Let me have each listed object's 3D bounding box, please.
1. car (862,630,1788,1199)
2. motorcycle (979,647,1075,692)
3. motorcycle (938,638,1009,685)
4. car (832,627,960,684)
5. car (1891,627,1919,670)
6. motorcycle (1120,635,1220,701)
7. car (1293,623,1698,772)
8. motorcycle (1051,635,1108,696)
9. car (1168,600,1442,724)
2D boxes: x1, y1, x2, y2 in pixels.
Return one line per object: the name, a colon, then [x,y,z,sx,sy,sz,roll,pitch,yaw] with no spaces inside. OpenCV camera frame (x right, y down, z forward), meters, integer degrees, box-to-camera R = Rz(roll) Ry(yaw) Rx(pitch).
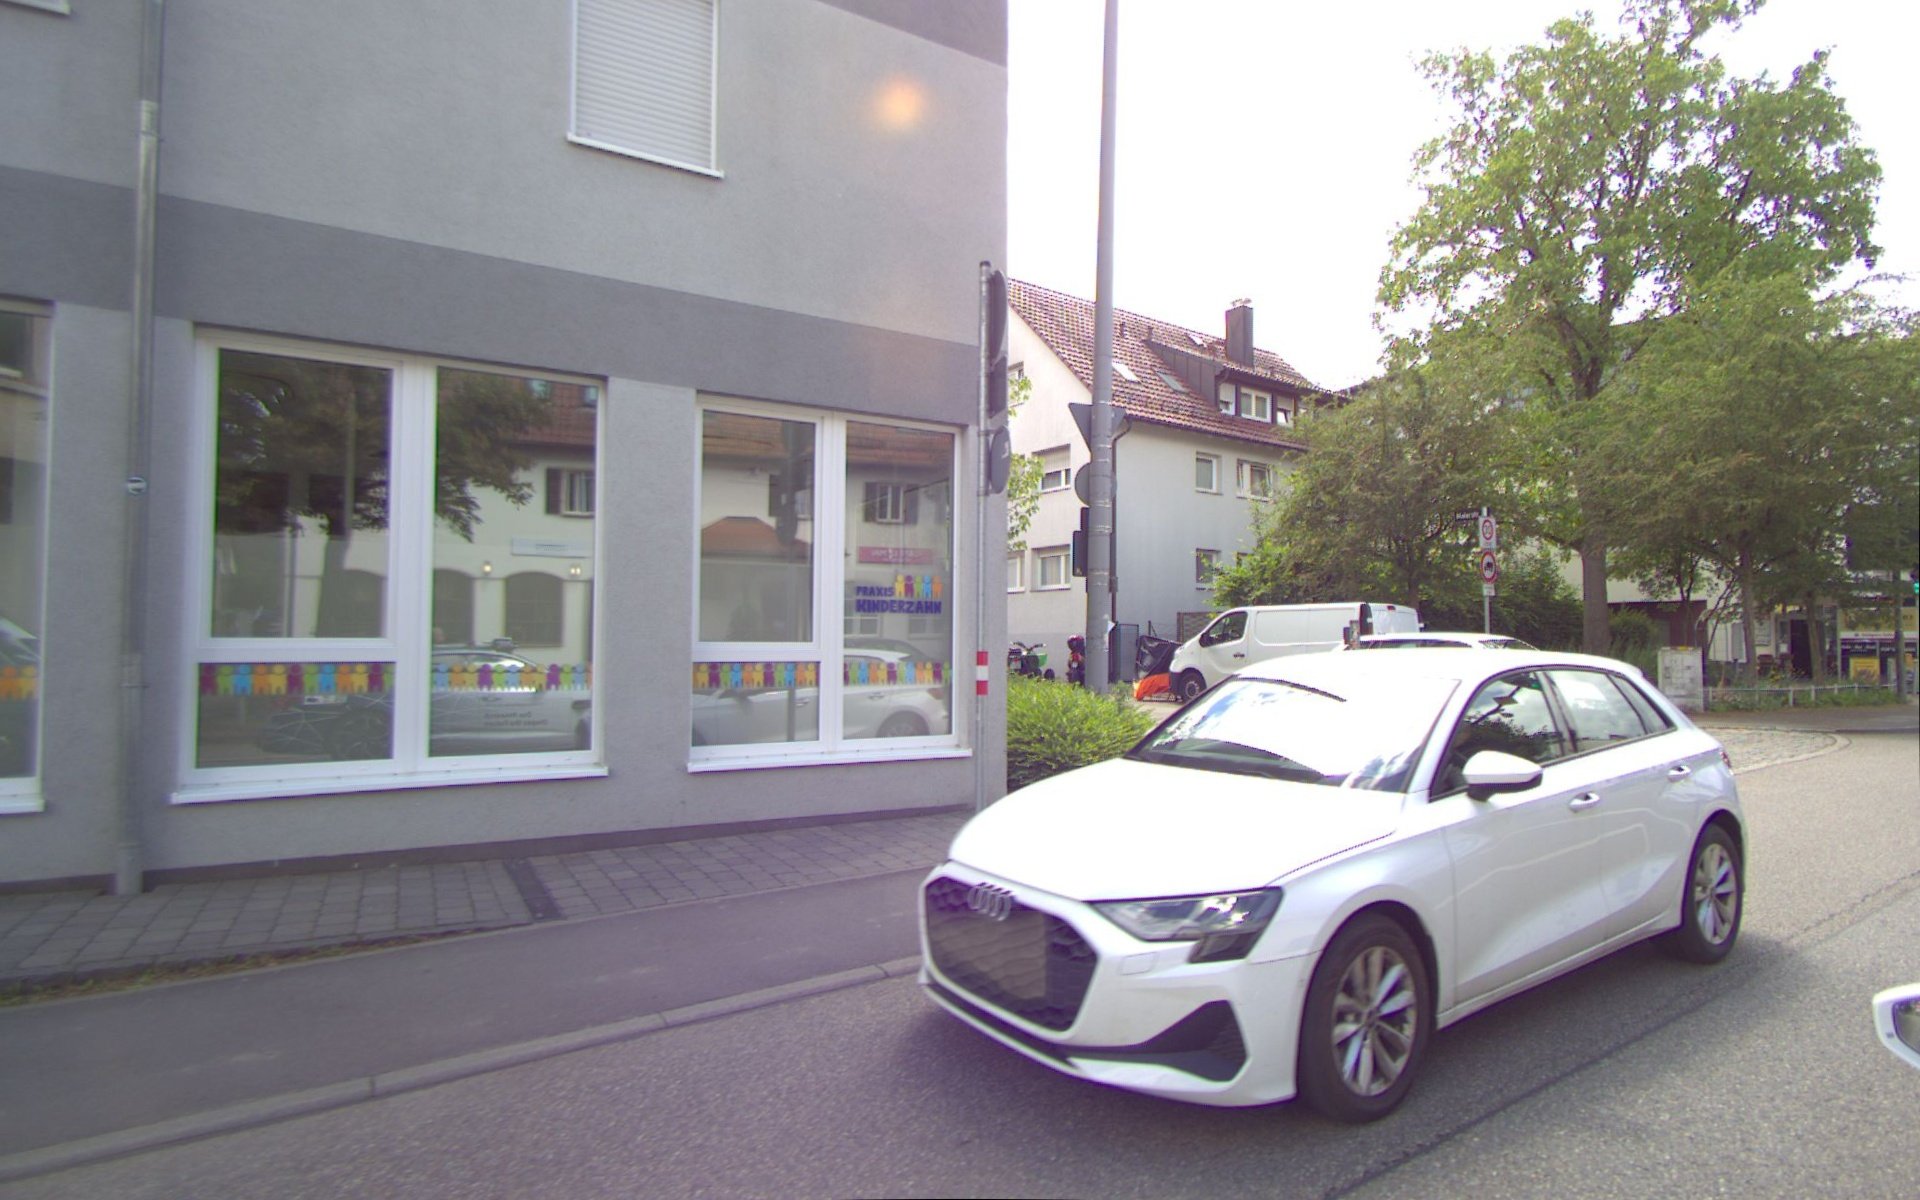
car: [1.790,0.860,4.491,4.072,1.443,1.863,1,-2,-34]
motorcycle: [1.690,1.699,25.116,1.189,1.018,2.325,-1,-2,44]
motorcycle: [0.371,1.676,27.442,1.938,1.240,0.466,1,-1,-25]
car: [-2.016,1.620,30.397,2.018,1.596,4.117,1,-2,-36]
car: [33.275,1.604,33.021,1.788,1.444,3.667,1,-2,-36]
motorcycle: [4.550,1.452,21.712,2.111,1.350,0.837,2,-2,-31]
car: [6.535,1.070,12.733,1.802,1.534,4.188,0,-1,-33]
motorcycle: [2.819,1.516,23.625,0.674,1.353,1.597,-1,-2,34]
car: [6.358,1.073,19.004,2.075,2.035,4.590,1,-2,-35]
